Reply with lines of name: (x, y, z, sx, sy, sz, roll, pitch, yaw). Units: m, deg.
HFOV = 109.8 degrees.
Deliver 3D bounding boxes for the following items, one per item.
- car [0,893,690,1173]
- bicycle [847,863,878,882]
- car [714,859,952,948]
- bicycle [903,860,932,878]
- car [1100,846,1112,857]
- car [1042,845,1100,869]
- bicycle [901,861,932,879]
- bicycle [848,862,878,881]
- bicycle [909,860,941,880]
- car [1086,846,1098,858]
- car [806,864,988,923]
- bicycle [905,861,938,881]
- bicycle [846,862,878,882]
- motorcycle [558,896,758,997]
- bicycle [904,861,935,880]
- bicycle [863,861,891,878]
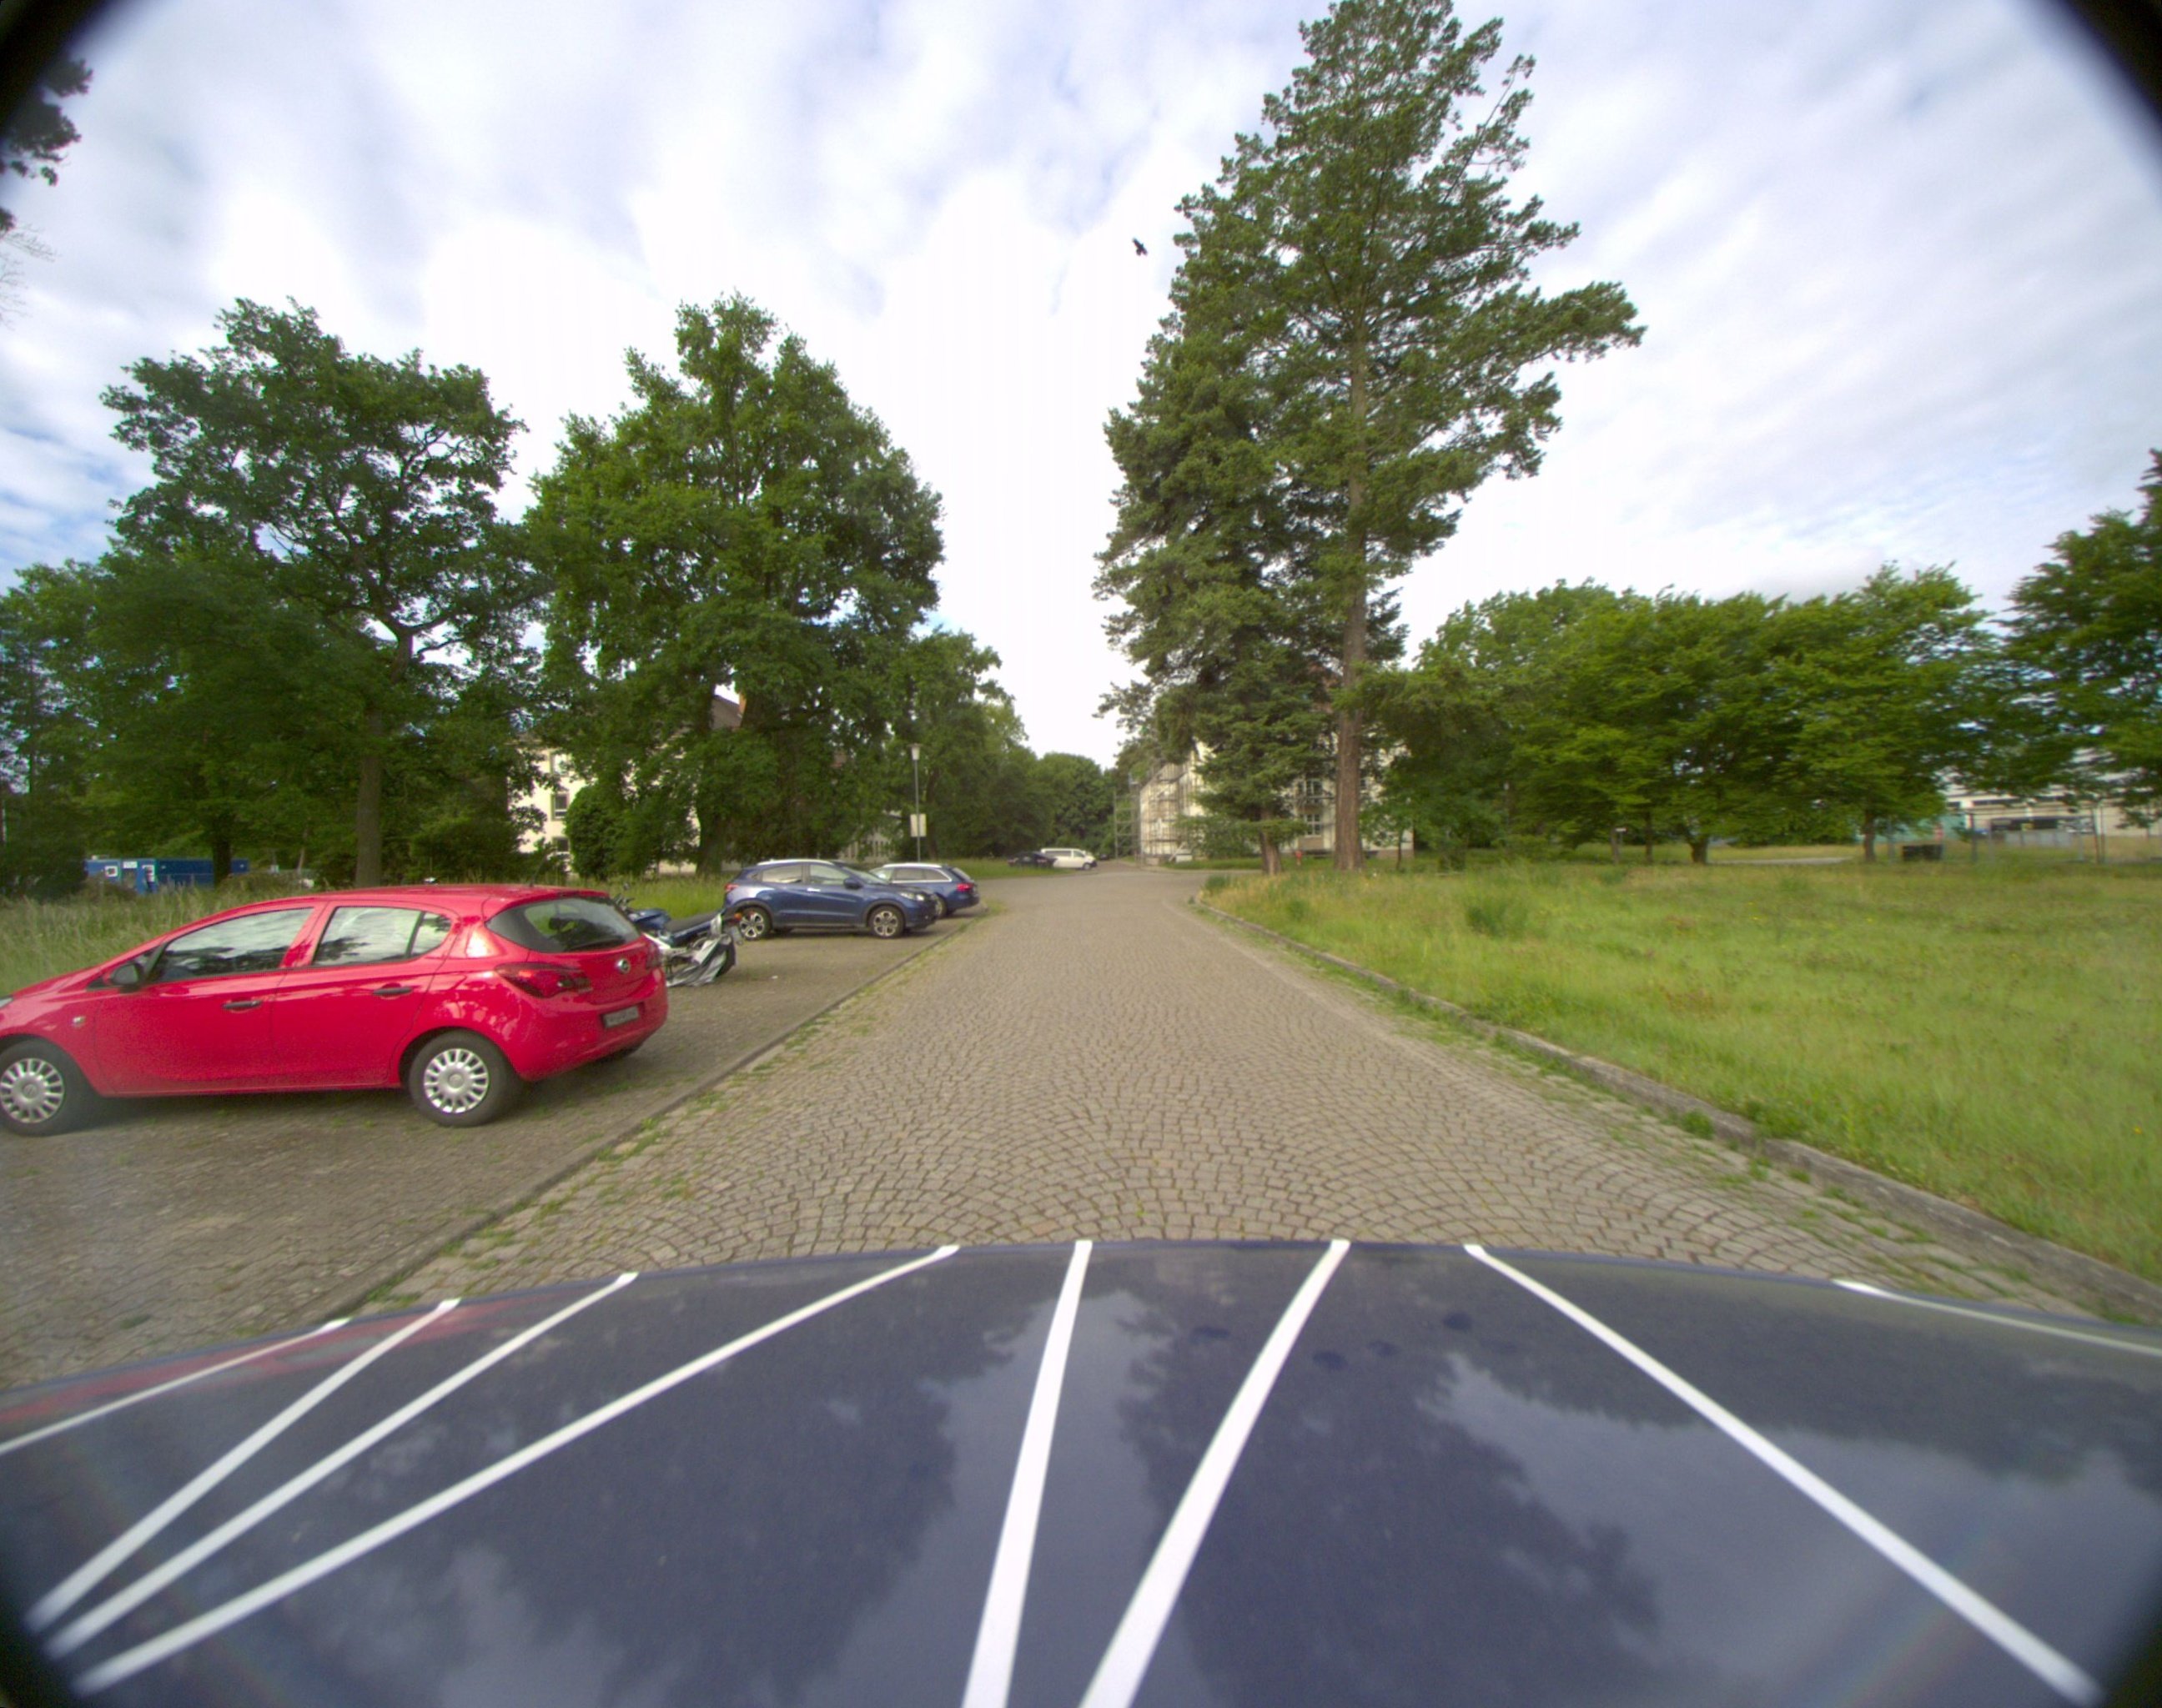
car: (-5.213, 1.106, 5.374, 3.933, 1.488, 1.784, -1, 1, -2)
bicycle: (-14.123, 1.190, 49.138, 1.862, 1.163, 0.487, -3, 1, -26)
car: (-4.956, 0.961, 15.675, 4.256, 1.613, 1.886, -1, 1, -2)
bicycle: (-11.752, 1.089, 54.481, 1.940, 1.163, 0.536, -4, 1, -16)
car: (4.469, -0.461, 135.626, 1.962, 2.002, 4.259, -1, 1, -1)
car: (-0.928, 0.248, 69.213, 5.149, 2.002, 2.000, -1, 1, 0)
bicycle: (-11.382, 1.092, 52.630, 1.941, 1.163, 0.487, -4, 1, -22)
bicycle: (-14.451, 1.166, 50.416, 1.861, 1.163, 0.487, -3, 1, -21)
bicycle: (-10.149, 1.065, 49.465, 1.942, 1.163, 0.487, -4, 1, -27)
car: (1.934, -0.380, 135.382, 1.962, 2.002, 4.259, -1, 1, -1)
car: (-4.838, 1.027, 20.417, 4.367, 1.431, 1.927, -1, 1, 2)
bicycle: (-10.261, 1.080, 48.787, 1.942, 1.163, 0.487, -4, 1, -27)
bicycle: (-14.325, 1.168, 49.705, 1.862, 1.163, 0.487, -3, 1, -26)
motorcycle: (-5.451, 1.182, 9.869, 2.236, 1.195, 0.568, -1, 1, -2)
bicycle: (-10.839, 1.083, 50.996, 1.942, 1.163, 0.487, -4, 1, -25)
bicycle: (-14.404, 1.084, 53.704, 1.860, 1.163, 0.488, 0, 1, -10)
